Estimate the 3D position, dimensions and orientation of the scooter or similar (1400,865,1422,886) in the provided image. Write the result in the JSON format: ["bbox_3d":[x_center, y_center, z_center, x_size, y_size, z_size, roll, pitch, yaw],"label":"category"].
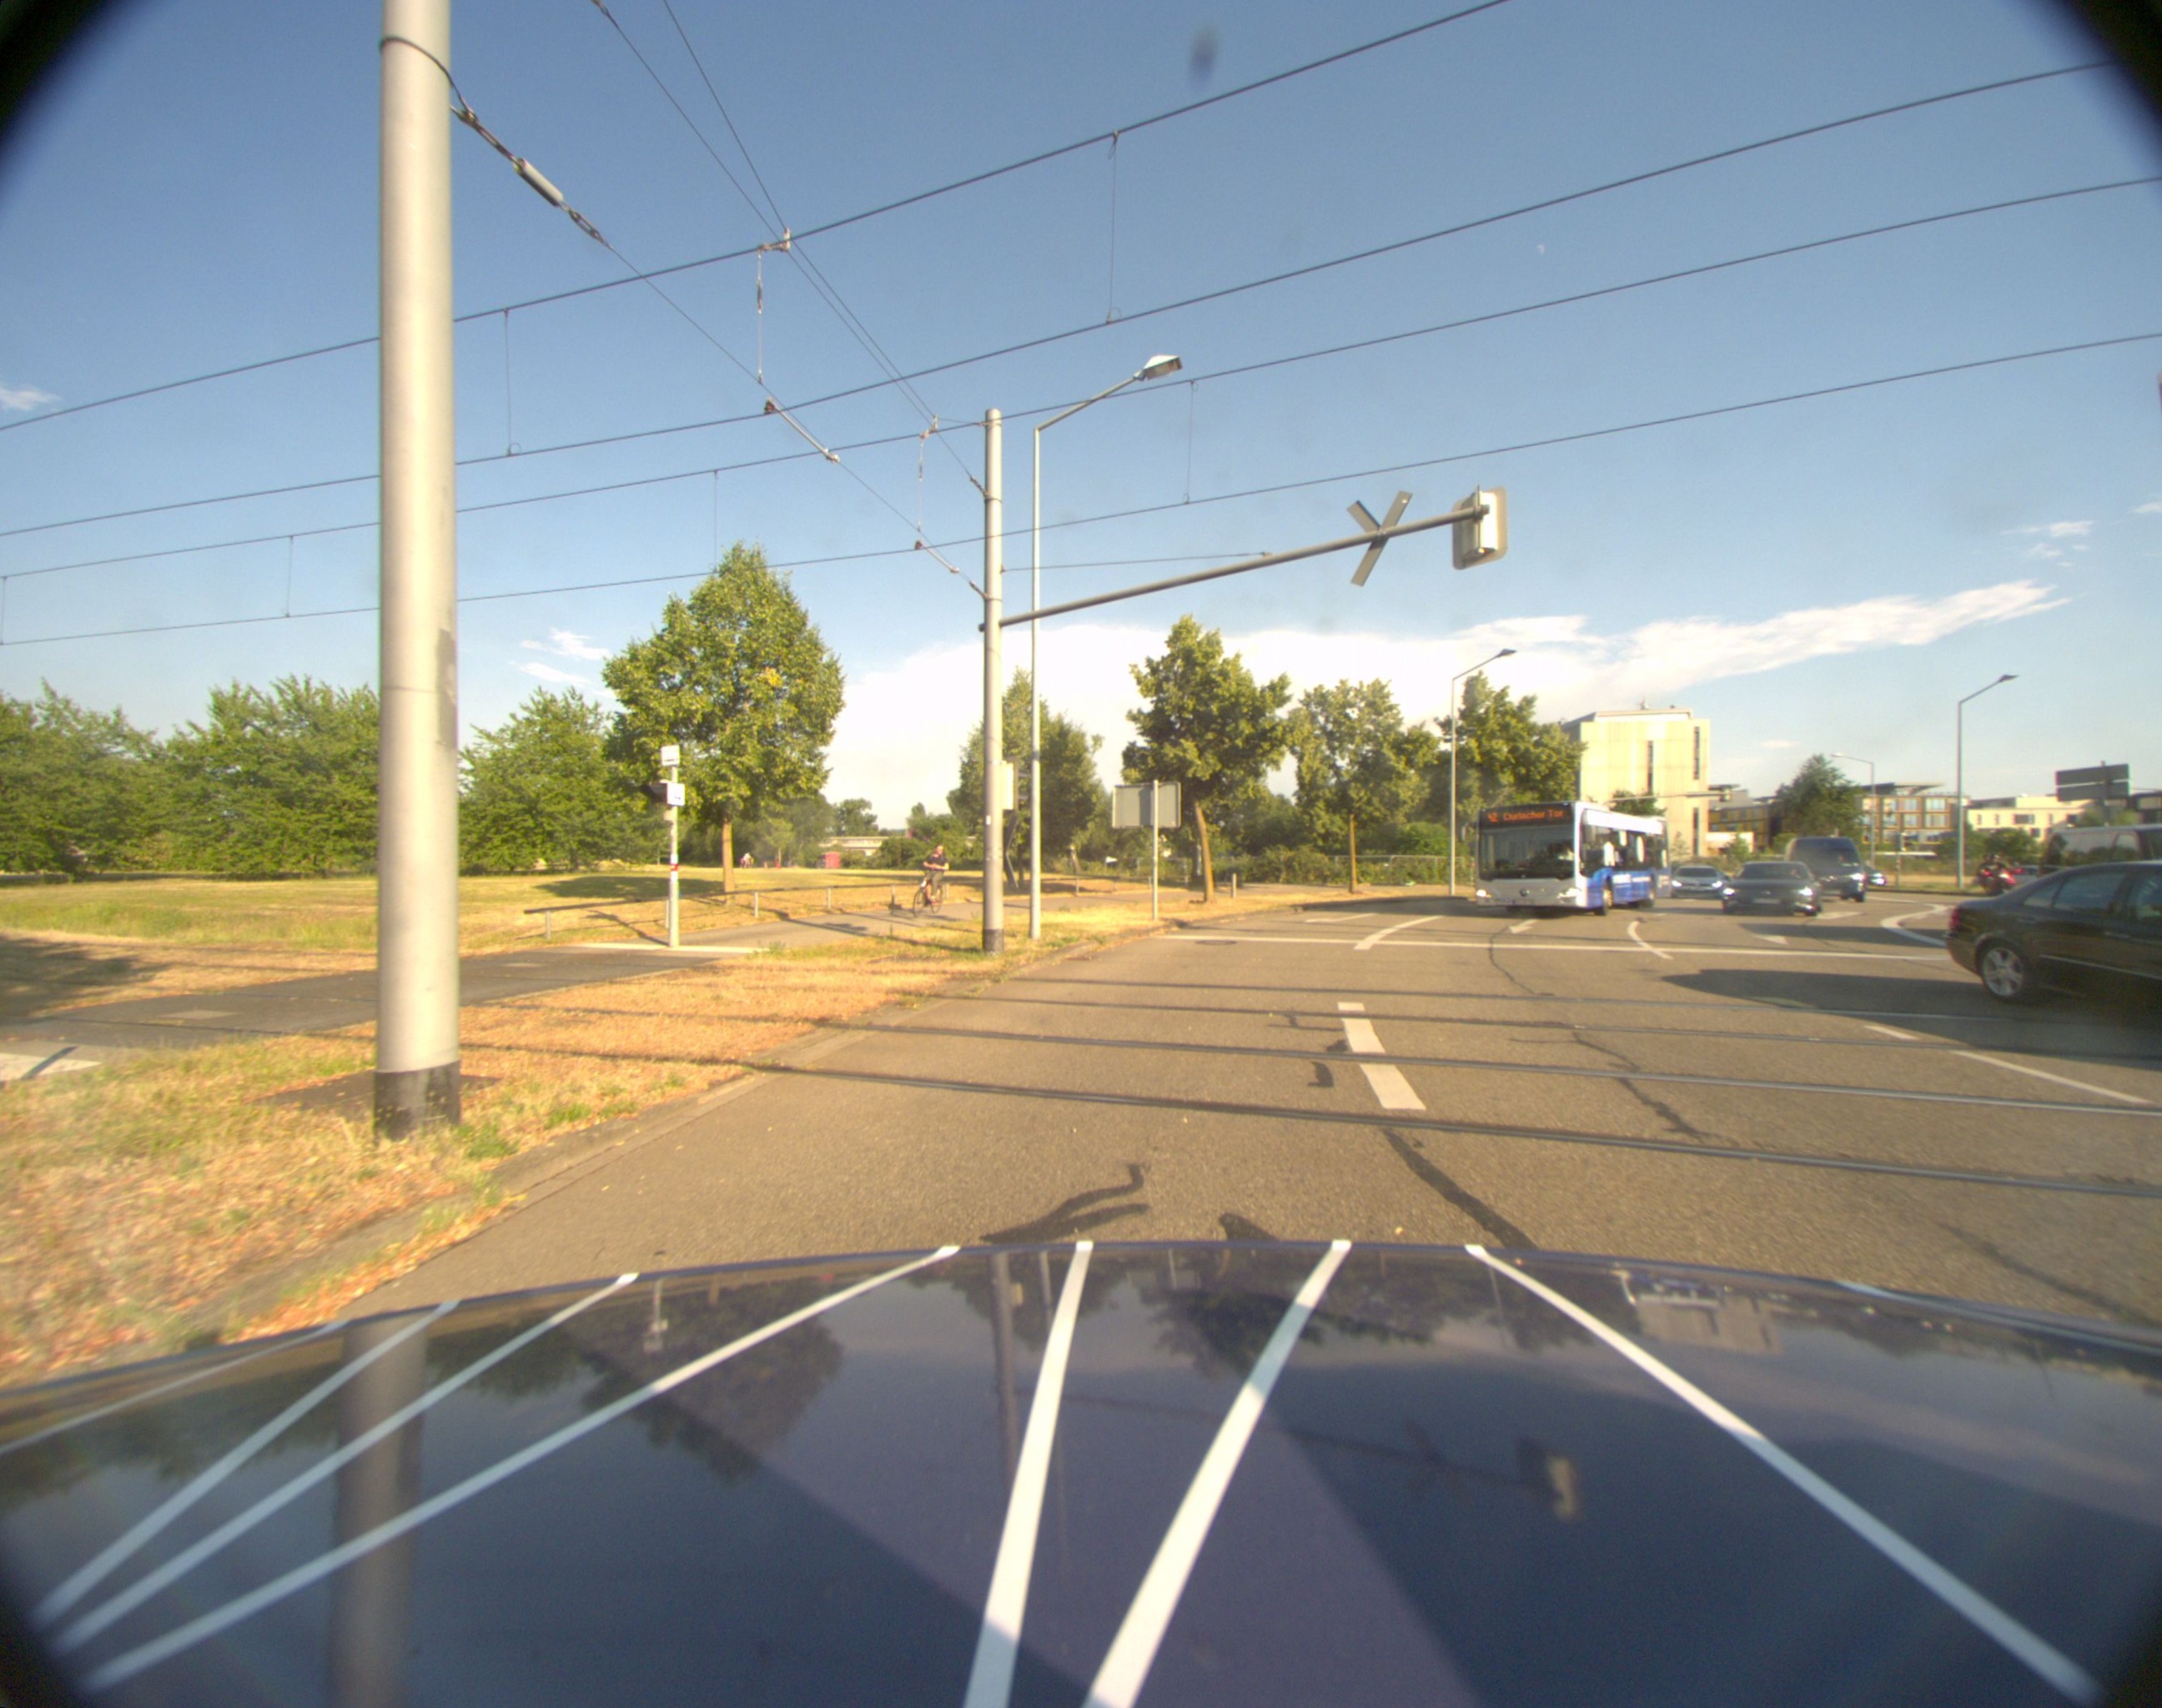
[{"bbox_3d":[18.495,1.180,42.544,1.171,1.153,0.342,0,0,-17],"label":"scooter or similar"}]

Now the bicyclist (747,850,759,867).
[{"bbox_3d":[-33.165,0.450,76.854,0.927,1.769,0.638,-2,0,8],"label":"bicyclist"}]

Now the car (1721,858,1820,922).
[{"bbox_3d":[18.867,0.915,20.728,1.806,1.501,4.170,-2,0,45],"label":"car"}]

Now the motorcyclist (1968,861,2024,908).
[{"bbox_3d":[32.090,1.033,26.678,1.038,1.581,1.443,1,1,42],"label":"motorcyclist"}]

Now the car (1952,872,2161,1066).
[{"bbox_3d":[9.282,0.917,5.645,1.807,1.428,4.501,-2,0,22],"label":"car"}]

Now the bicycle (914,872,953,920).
[{"bbox_3d":[-3.850,1.068,19.910,0.415,1.151,1.892,1,0,7],"label":"bicycle"}]

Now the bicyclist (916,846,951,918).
[{"bbox_3d":[-3.857,0.718,19.873,0.620,1.819,0.830,2,1,8],"label":"bicyclist"}]

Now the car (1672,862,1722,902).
[{"bbox_3d":[27.149,1.207,33.453,1.634,1.593,3.533,-2,0,40],"label":"car"}]

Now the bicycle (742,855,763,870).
[{"bbox_3d":[-33.247,0.870,76.861,1.941,1.441,0.393,-2,0,7],"label":"bicycle"}]

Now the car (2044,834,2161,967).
[{"bbox_3d":[17.075,0.640,11.441,1.857,1.920,5.023,-1,0,36],"label":"car"}]

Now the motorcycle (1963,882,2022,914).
[{"bbox_3d":[32.094,1.511,26.793,0.952,0.956,2.897,1,1,43],"label":"motorcycle"}]

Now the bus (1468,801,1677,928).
[{"bbox_3d":[15.360,0.257,23.079,11.744,3.024,2.589,0,-1,-44],"label":"bus"}]

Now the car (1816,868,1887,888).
[{"bbox_3d":[56.855,1.764,56.174,1.479,1.341,3.831,0,0,3],"label":"car"}]

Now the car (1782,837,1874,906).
[{"bbox_3d":[29.628,0.614,30.321,1.977,2.503,5.921,-2,0,39],"label":"car"}]
